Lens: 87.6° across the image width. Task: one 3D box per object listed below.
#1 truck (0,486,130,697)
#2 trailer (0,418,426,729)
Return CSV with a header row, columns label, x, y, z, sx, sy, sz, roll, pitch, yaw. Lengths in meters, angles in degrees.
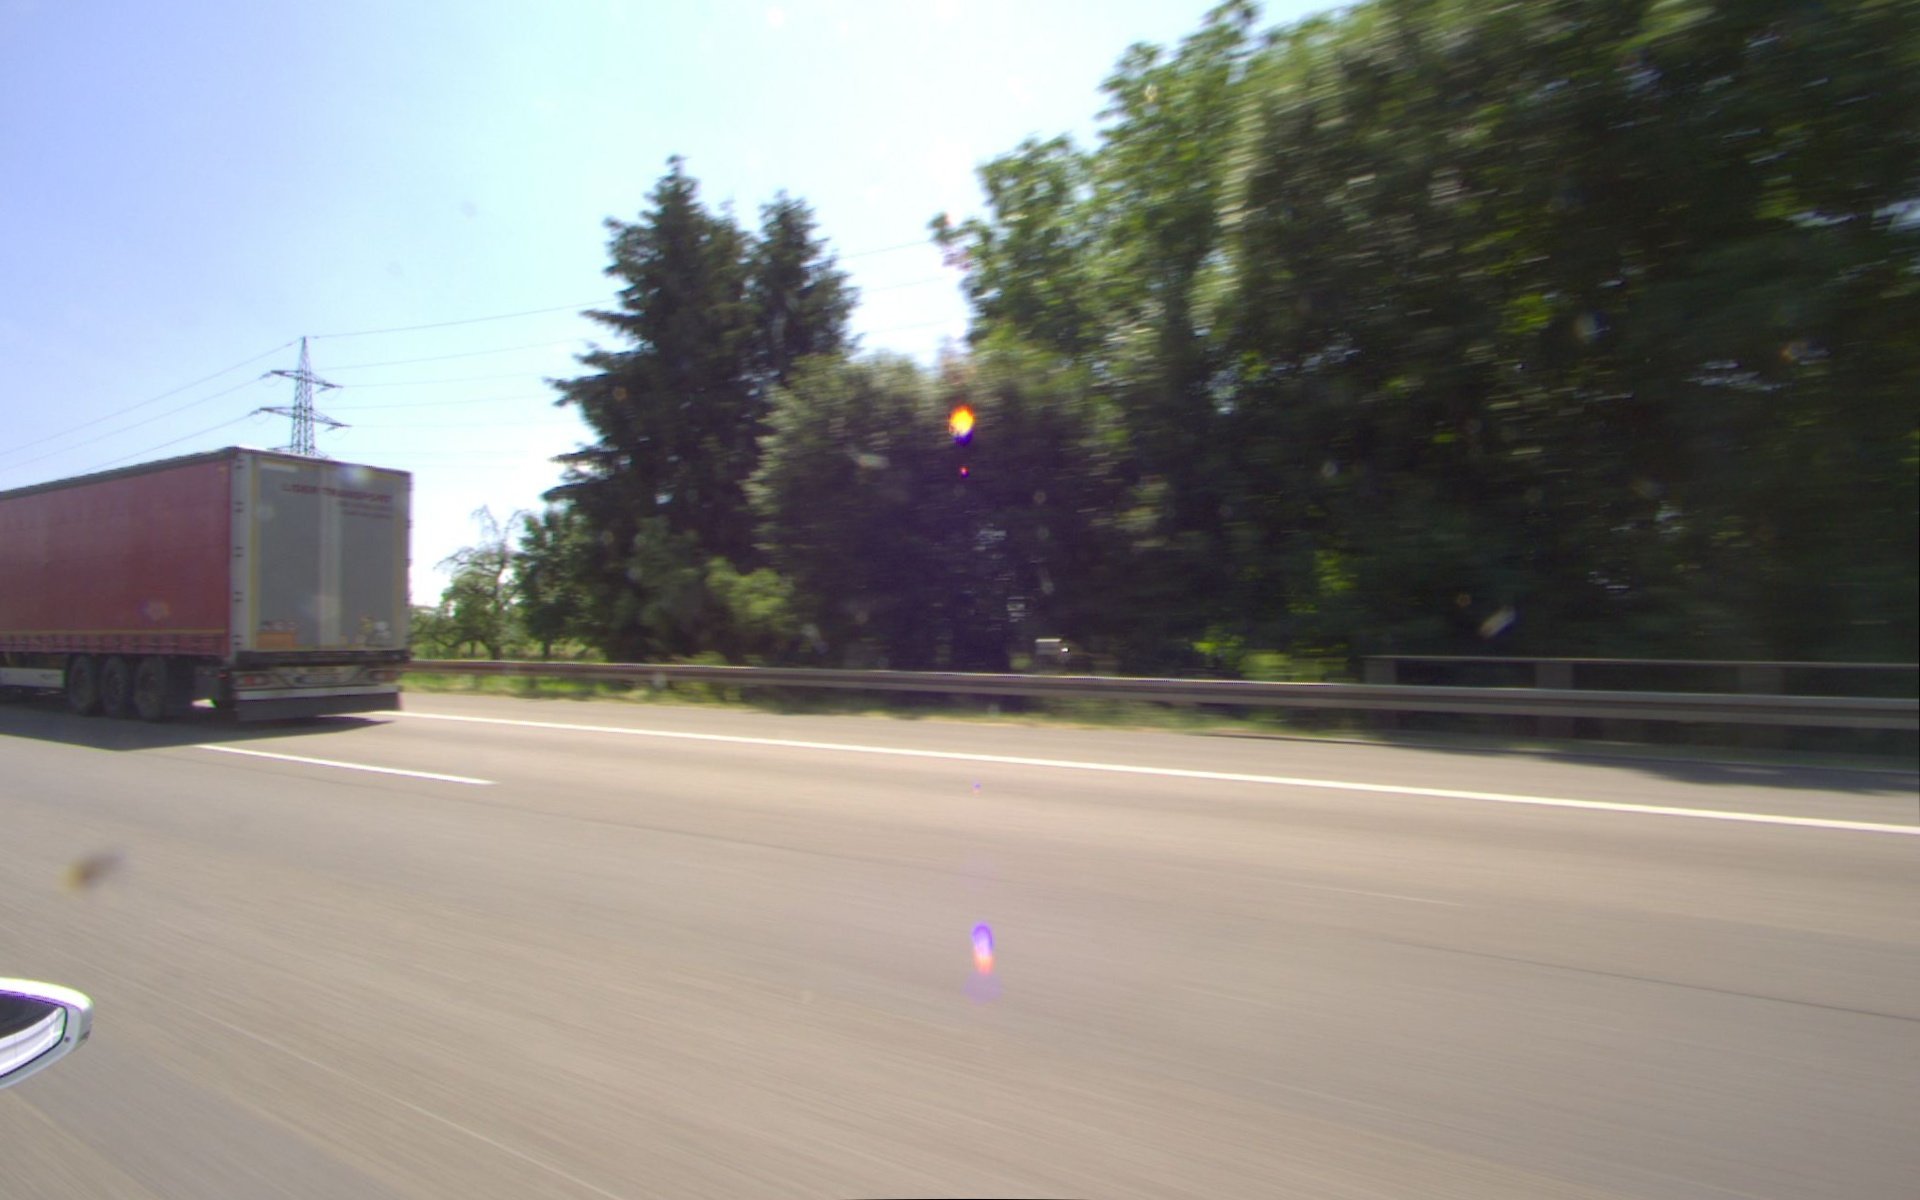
label,x,y,z,sx,sy,sz,roll,pitch,yaw
truck,-21.443,-0.115,22.331,6.156,4.207,2.558,0,-1,31
trailer,-14.777,-0.257,18.370,12.842,4.318,2.597,-1,-1,31
